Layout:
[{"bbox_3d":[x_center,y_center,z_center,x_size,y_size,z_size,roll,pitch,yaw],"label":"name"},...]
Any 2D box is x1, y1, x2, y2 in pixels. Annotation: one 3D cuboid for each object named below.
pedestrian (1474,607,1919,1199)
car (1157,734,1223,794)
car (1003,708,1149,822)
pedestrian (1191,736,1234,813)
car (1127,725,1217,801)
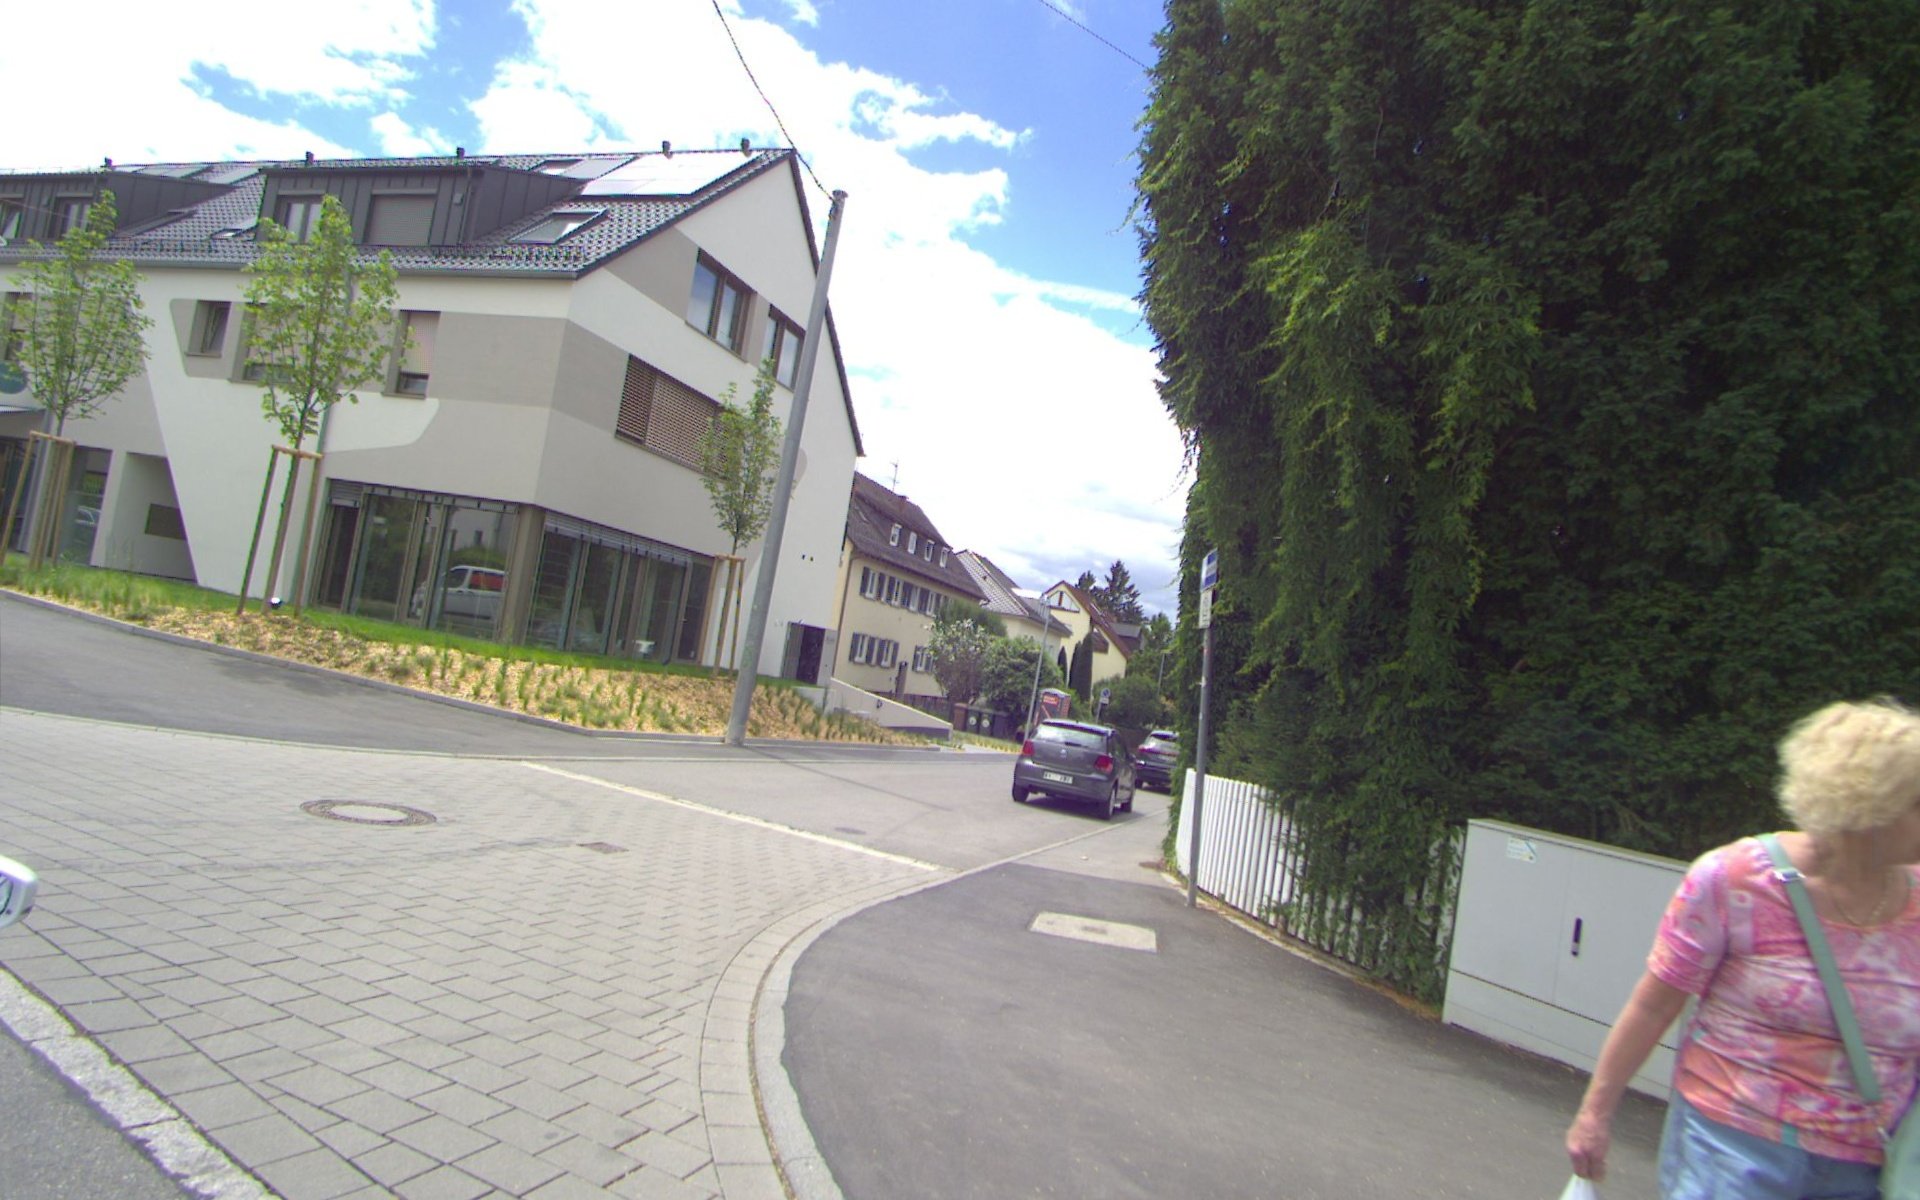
[{"bbox_3d":[1.445,0.936,1.772,0.869,1.662,0.856,7,-4,33],"label":"pedestrian"},{"bbox_3d":[7.554,5.334,32.827,1.631,1.558,3.356,8,-6,18],"label":"car"},{"bbox_3d":[2.102,2.824,17.354,1.682,1.471,3.545,8,-6,18],"label":"car"},{"bbox_3d":[5.518,3.802,21.975,0.567,1.562,0.545,7,-5,31],"label":"pedestrian"},{"bbox_3d":[5.945,4.487,27.837,1.852,1.622,4.358,8,-6,18],"label":"car"}]
